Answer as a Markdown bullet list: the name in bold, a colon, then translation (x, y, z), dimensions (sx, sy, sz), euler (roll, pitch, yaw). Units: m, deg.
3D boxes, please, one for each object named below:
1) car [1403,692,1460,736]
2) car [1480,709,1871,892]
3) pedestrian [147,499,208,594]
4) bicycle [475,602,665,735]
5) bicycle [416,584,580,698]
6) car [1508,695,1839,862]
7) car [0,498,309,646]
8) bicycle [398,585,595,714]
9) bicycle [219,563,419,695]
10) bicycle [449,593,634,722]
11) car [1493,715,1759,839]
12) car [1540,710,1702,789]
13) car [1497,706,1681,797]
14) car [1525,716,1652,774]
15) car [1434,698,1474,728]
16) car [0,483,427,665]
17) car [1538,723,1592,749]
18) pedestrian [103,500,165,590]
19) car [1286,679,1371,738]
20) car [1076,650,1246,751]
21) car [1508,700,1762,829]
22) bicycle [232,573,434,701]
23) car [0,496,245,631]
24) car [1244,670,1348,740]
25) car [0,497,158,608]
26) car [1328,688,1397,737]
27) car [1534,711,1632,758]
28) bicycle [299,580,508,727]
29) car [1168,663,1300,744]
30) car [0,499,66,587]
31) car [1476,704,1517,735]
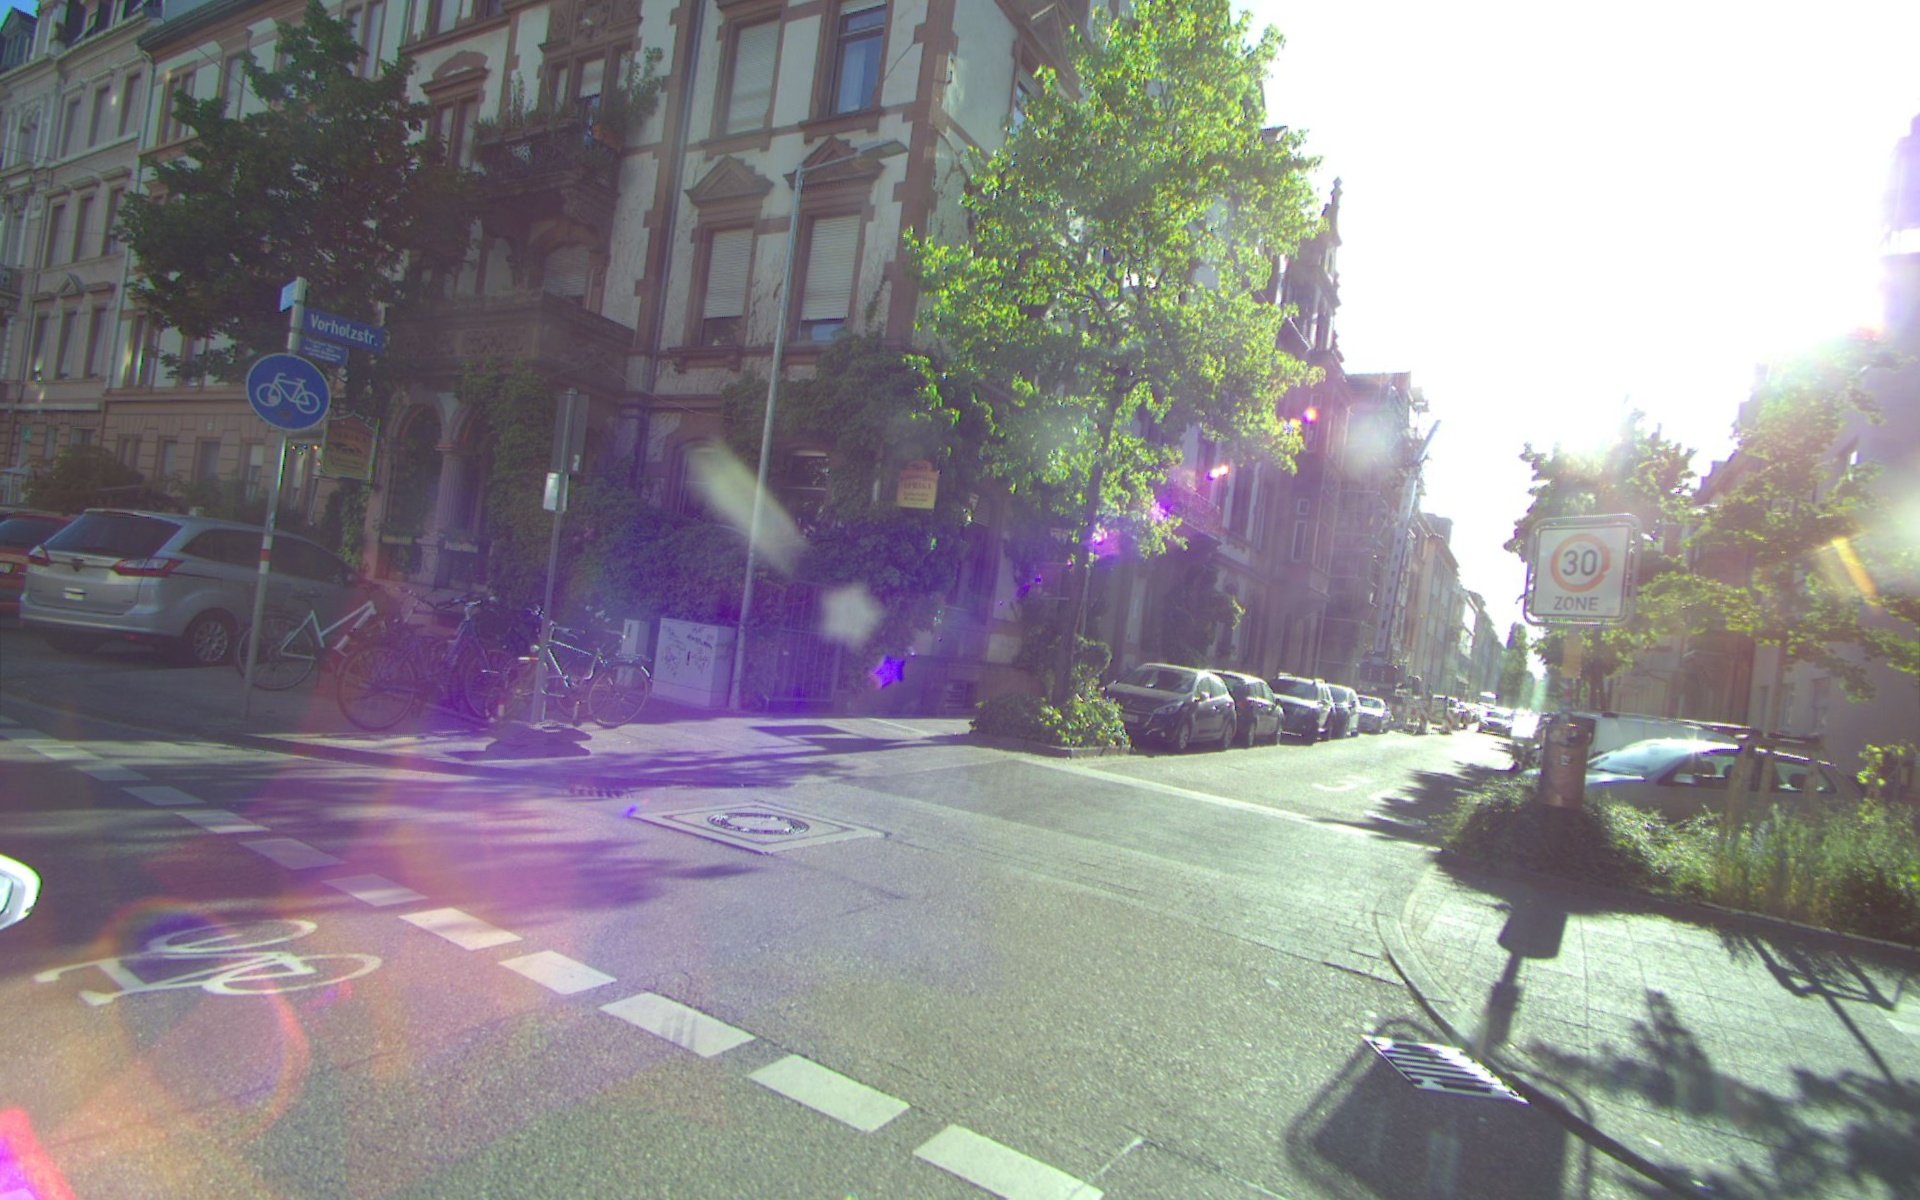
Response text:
- **car**: translation (22.490, 5.424, 47.911), dimensions (1.685, 1.771, 3.992), euler (7, -2, 34)
- **car**: translation (8.716, 2.407, 12.495), dimensions (3.466, 1.549, 1.774), euler (8, -2, 0)
- **pedestrian**: translation (-15.891, -1.084, 20.426), dimensions (0.849, 1.798, 0.519), euler (6, -2, 32)
- **bicycle**: translation (-3.761, 0.700, 9.813), dimensions (0.543, 1.140, 1.557), euler (6, -3, 37)
- **bicycle**: translation (-5.344, 0.503, 11.721), dimensions (0.543, 1.140, 1.557), euler (6, -3, 37)
- **car**: translation (10.864, 2.681, 15.518), dimensions (3.671, 1.850, 1.774), euler (8, -2, 0)
- **car**: translation (-11.234, -0.317, 13.532), dimensions (1.882, 1.553, 4.006), euler (7, -3, 7)
- **bicycle**: translation (-4.739, 0.542, 10.387), dimensions (0.543, 1.140, 1.676), euler (6, -3, 37)
- **bicycle**: translation (-6.336, 0.321, 10.029), dimensions (0.290, 1.140, 1.561), euler (6, -3, 37)
- **bicycle**: translation (-4.189, 0.609, 10.164), dimensions (0.520, 1.140, 1.557), euler (6, -3, 37)
- **car**: translation (11.827, 3.116, 18.043), dimensions (3.466, 1.549, 1.774), euler (8, -2, 0)
- **car**: translation (21.198, 4.765, 32.453), dimensions (3.882, 1.814, 1.775), euler (7, -2, 19)
- **car**: translation (17.348, 4.146, 27.960), dimensions (3.882, 1.814, 1.774), euler (7, -2, 20)
- **car**: translation (25.107, 5.775, 40.349), dimensions (3.882, 1.650, 1.775), euler (7, -2, 19)
- **car**: translation (31.614, 7.254, 64.341), dimensions (1.685, 1.590, 3.992), euler (7, -2, 34)
- **car**: translation (-8.816, -0.141, 12.207), dimensions (1.818, 1.613, 4.373), euler (7, -3, 7)
- **car**: translation (53.701, 12.082, 89.349), dimensions (3.887, 1.650, 1.772), euler (6, -2, 27)
- **pedestrian**: translation (-16.265, -1.085, 19.810), dimensions (0.849, 1.667, 0.519), euler (6, -2, 32)
- **car**: translation (11.804, 3.494, 32.089), dimensions (1.685, 1.589, 3.996), euler (4, -4, 32)
- **car**: translation (3.845, 1.906, 18.697), dimensions (1.684, 1.469, 3.996), euler (6, -3, 32)
- **car**: translation (13.816, 3.316, 20.858), dimensions (3.882, 1.917, 1.774), euler (7, -2, 20)
- **bicycle**: translation (-6.076, 0.397, 9.837), dimensions (0.302, 1.091, 1.557), euler (6, -3, 37)
- **car**: translation (-13.286, -0.562, 14.678), dimensions (2.049, 1.613, 4.456), euler (7, -3, 7)
- **car**: translation (9.149, 2.882, 27.207), dimensions (1.685, 1.589, 3.996), euler (4, -4, 32)
- **car**: translation (-16.017, -0.889, 16.618), dimensions (2.008, 1.613, 4.334), euler (8, -3, -3)
- **car**: translation (15.378, 4.305, 38.351), dimensions (1.685, 1.589, 3.996), euler (4, -4, 32)
- **car**: translation (30.696, 6.611, 49.700), dimensions (3.889, 1.650, 1.772), euler (6, -2, 29)
- **bicycle**: translation (-4.823, 0.500, 8.802), dimensions (0.542, 1.140, 1.400), euler (6, -3, 31)
- **car**: translation (6.278, 2.381, 22.755), dimensions (1.684, 1.469, 3.996), euler (6, -3, 32)
- **car**: translation (-19.701, -1.320, 18.851), dimensions (1.922, 1.613, 4.006), euler (7, -3, 7)
- **car**: translation (33.132, 7.383, 62.059), dimensions (1.685, 1.590, 3.992), euler (7, -2, 34)
